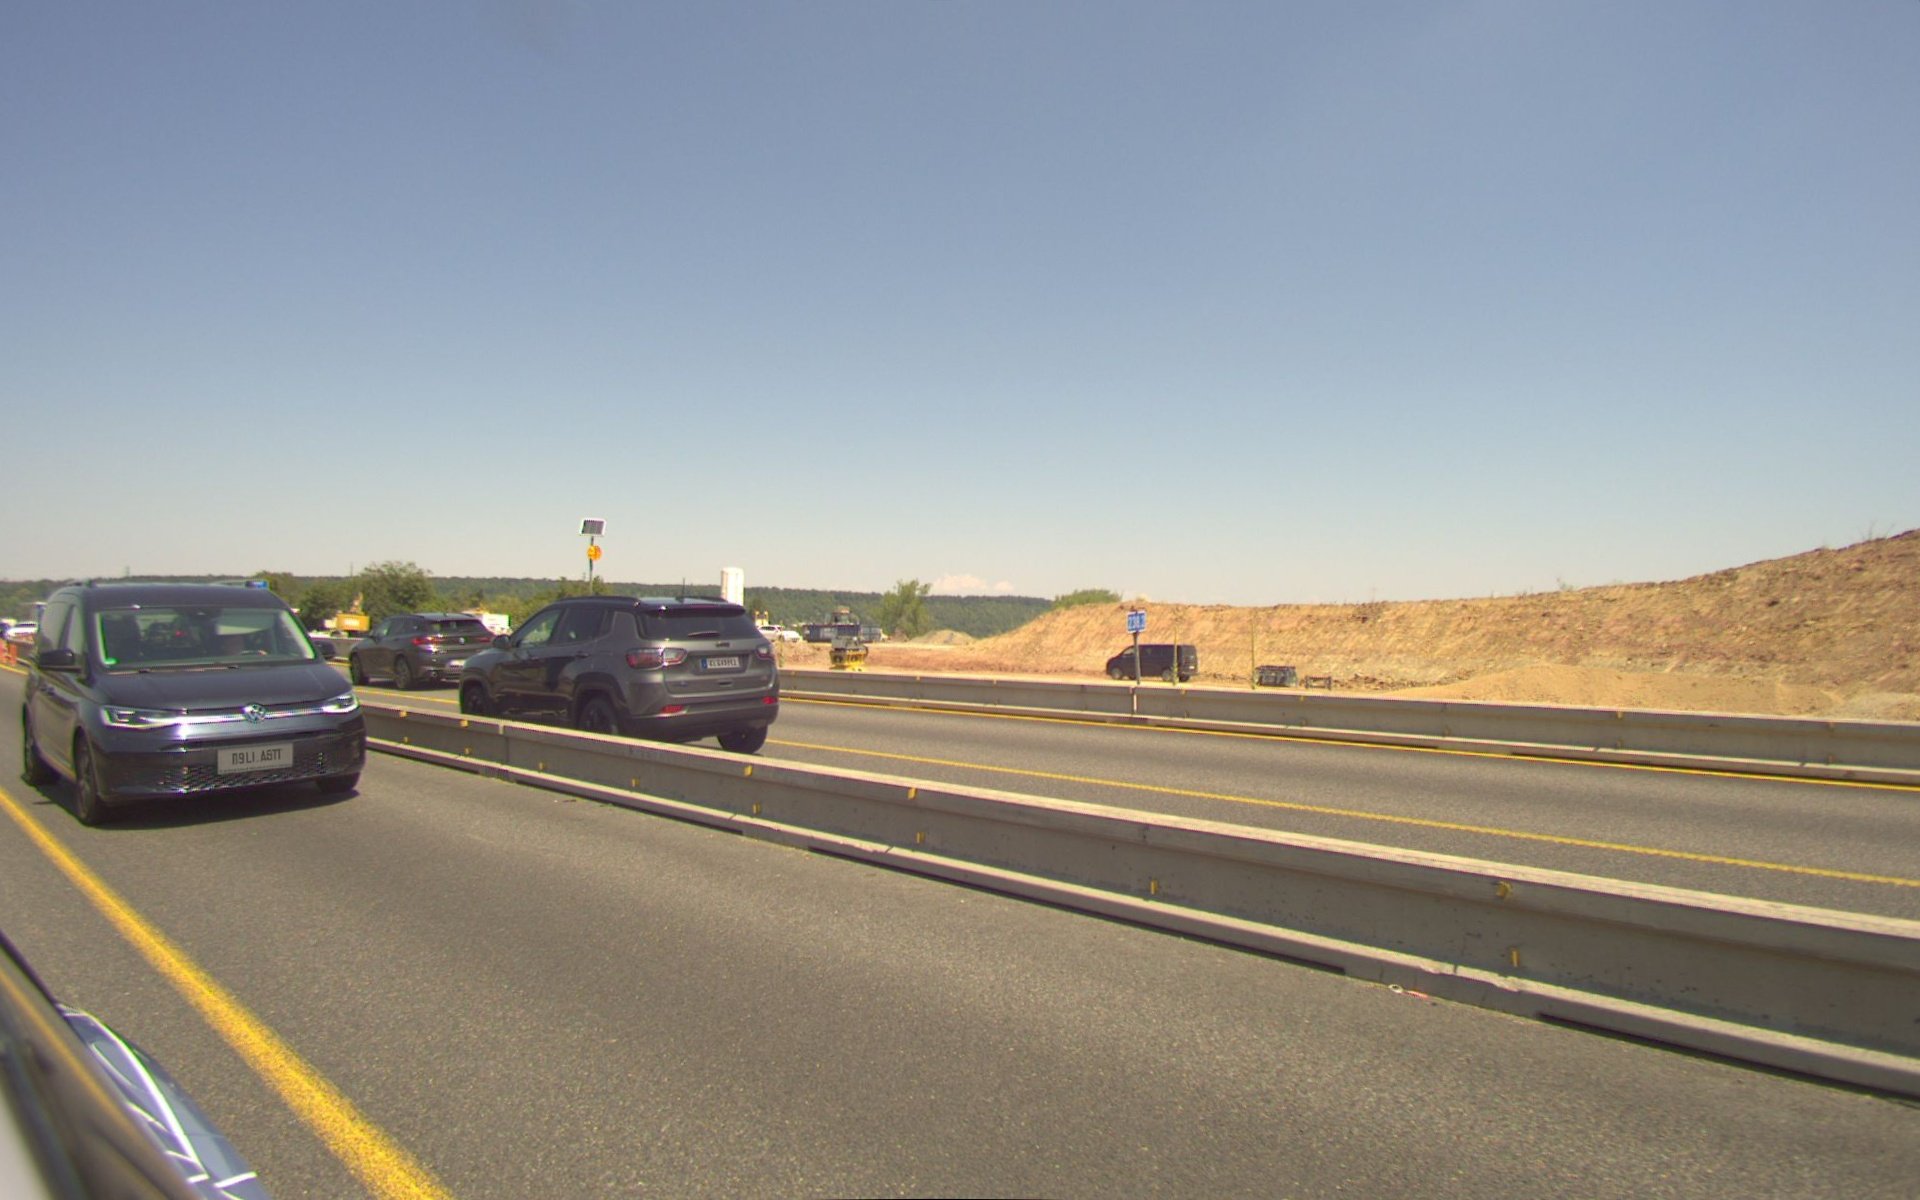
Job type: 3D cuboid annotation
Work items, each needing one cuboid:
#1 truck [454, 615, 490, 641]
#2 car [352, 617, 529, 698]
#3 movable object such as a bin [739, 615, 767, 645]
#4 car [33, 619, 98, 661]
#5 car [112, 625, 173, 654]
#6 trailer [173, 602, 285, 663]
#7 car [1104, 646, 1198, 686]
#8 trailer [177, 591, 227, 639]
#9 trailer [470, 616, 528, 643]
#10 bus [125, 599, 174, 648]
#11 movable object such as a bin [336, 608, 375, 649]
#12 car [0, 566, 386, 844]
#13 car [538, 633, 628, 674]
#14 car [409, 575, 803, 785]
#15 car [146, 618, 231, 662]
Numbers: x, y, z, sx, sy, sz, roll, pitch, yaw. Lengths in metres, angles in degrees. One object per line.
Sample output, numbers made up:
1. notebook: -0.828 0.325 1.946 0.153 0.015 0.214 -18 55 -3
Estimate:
1. truck: -58.220 3.312 120.789 4.261 3.066 2.317 -1 -2 40
2. car: -10.614 1.104 20.547 4.390 1.490 1.707 -1 -2 41
3. movable object such as a bin: -22.026 3.173 107.782 1.965 3.165 4.500 0 -2 -25
4. car: -35.861 1.570 40.534 1.674 1.591 4.136 1 -2 -45
5. car: -42.081 2.019 52.072 4.647 1.434 1.801 -2 -2 43
6. trailer: -25.892 1.159 35.782 5.233 1.997 2.108 -2 -3 42
7. car: 10.189 3.480 54.095 4.551 1.939 1.977 -1 -2 33
8. trailer: -70.679 1.448 94.578 2.722 4.146 14.015 1 -2 -33
9. trailer: -53.907 3.456 118.455 2.881 3.020 5.507 -1 -2 40
10. bus: -55.065 1.580 68.694 2.320 3.149 7.239 1 -2 -41
11. movable object such as a bin: -65.785 3.091 110.332 2.882 4.362 9.356 0 -2 -26
12. car: -6.889 0.717 8.816 4.601 1.803 1.901 -1 -1 42
13. car: -14.585 2.038 39.293 1.537 1.466 3.177 -1 -2 22
14. car: -3.973 0.730 10.796 5.037 1.755 1.753 -2 -2 42
15. car: -31.293 1.584 41.013 4.716 1.692 1.903 -2 -1 42
